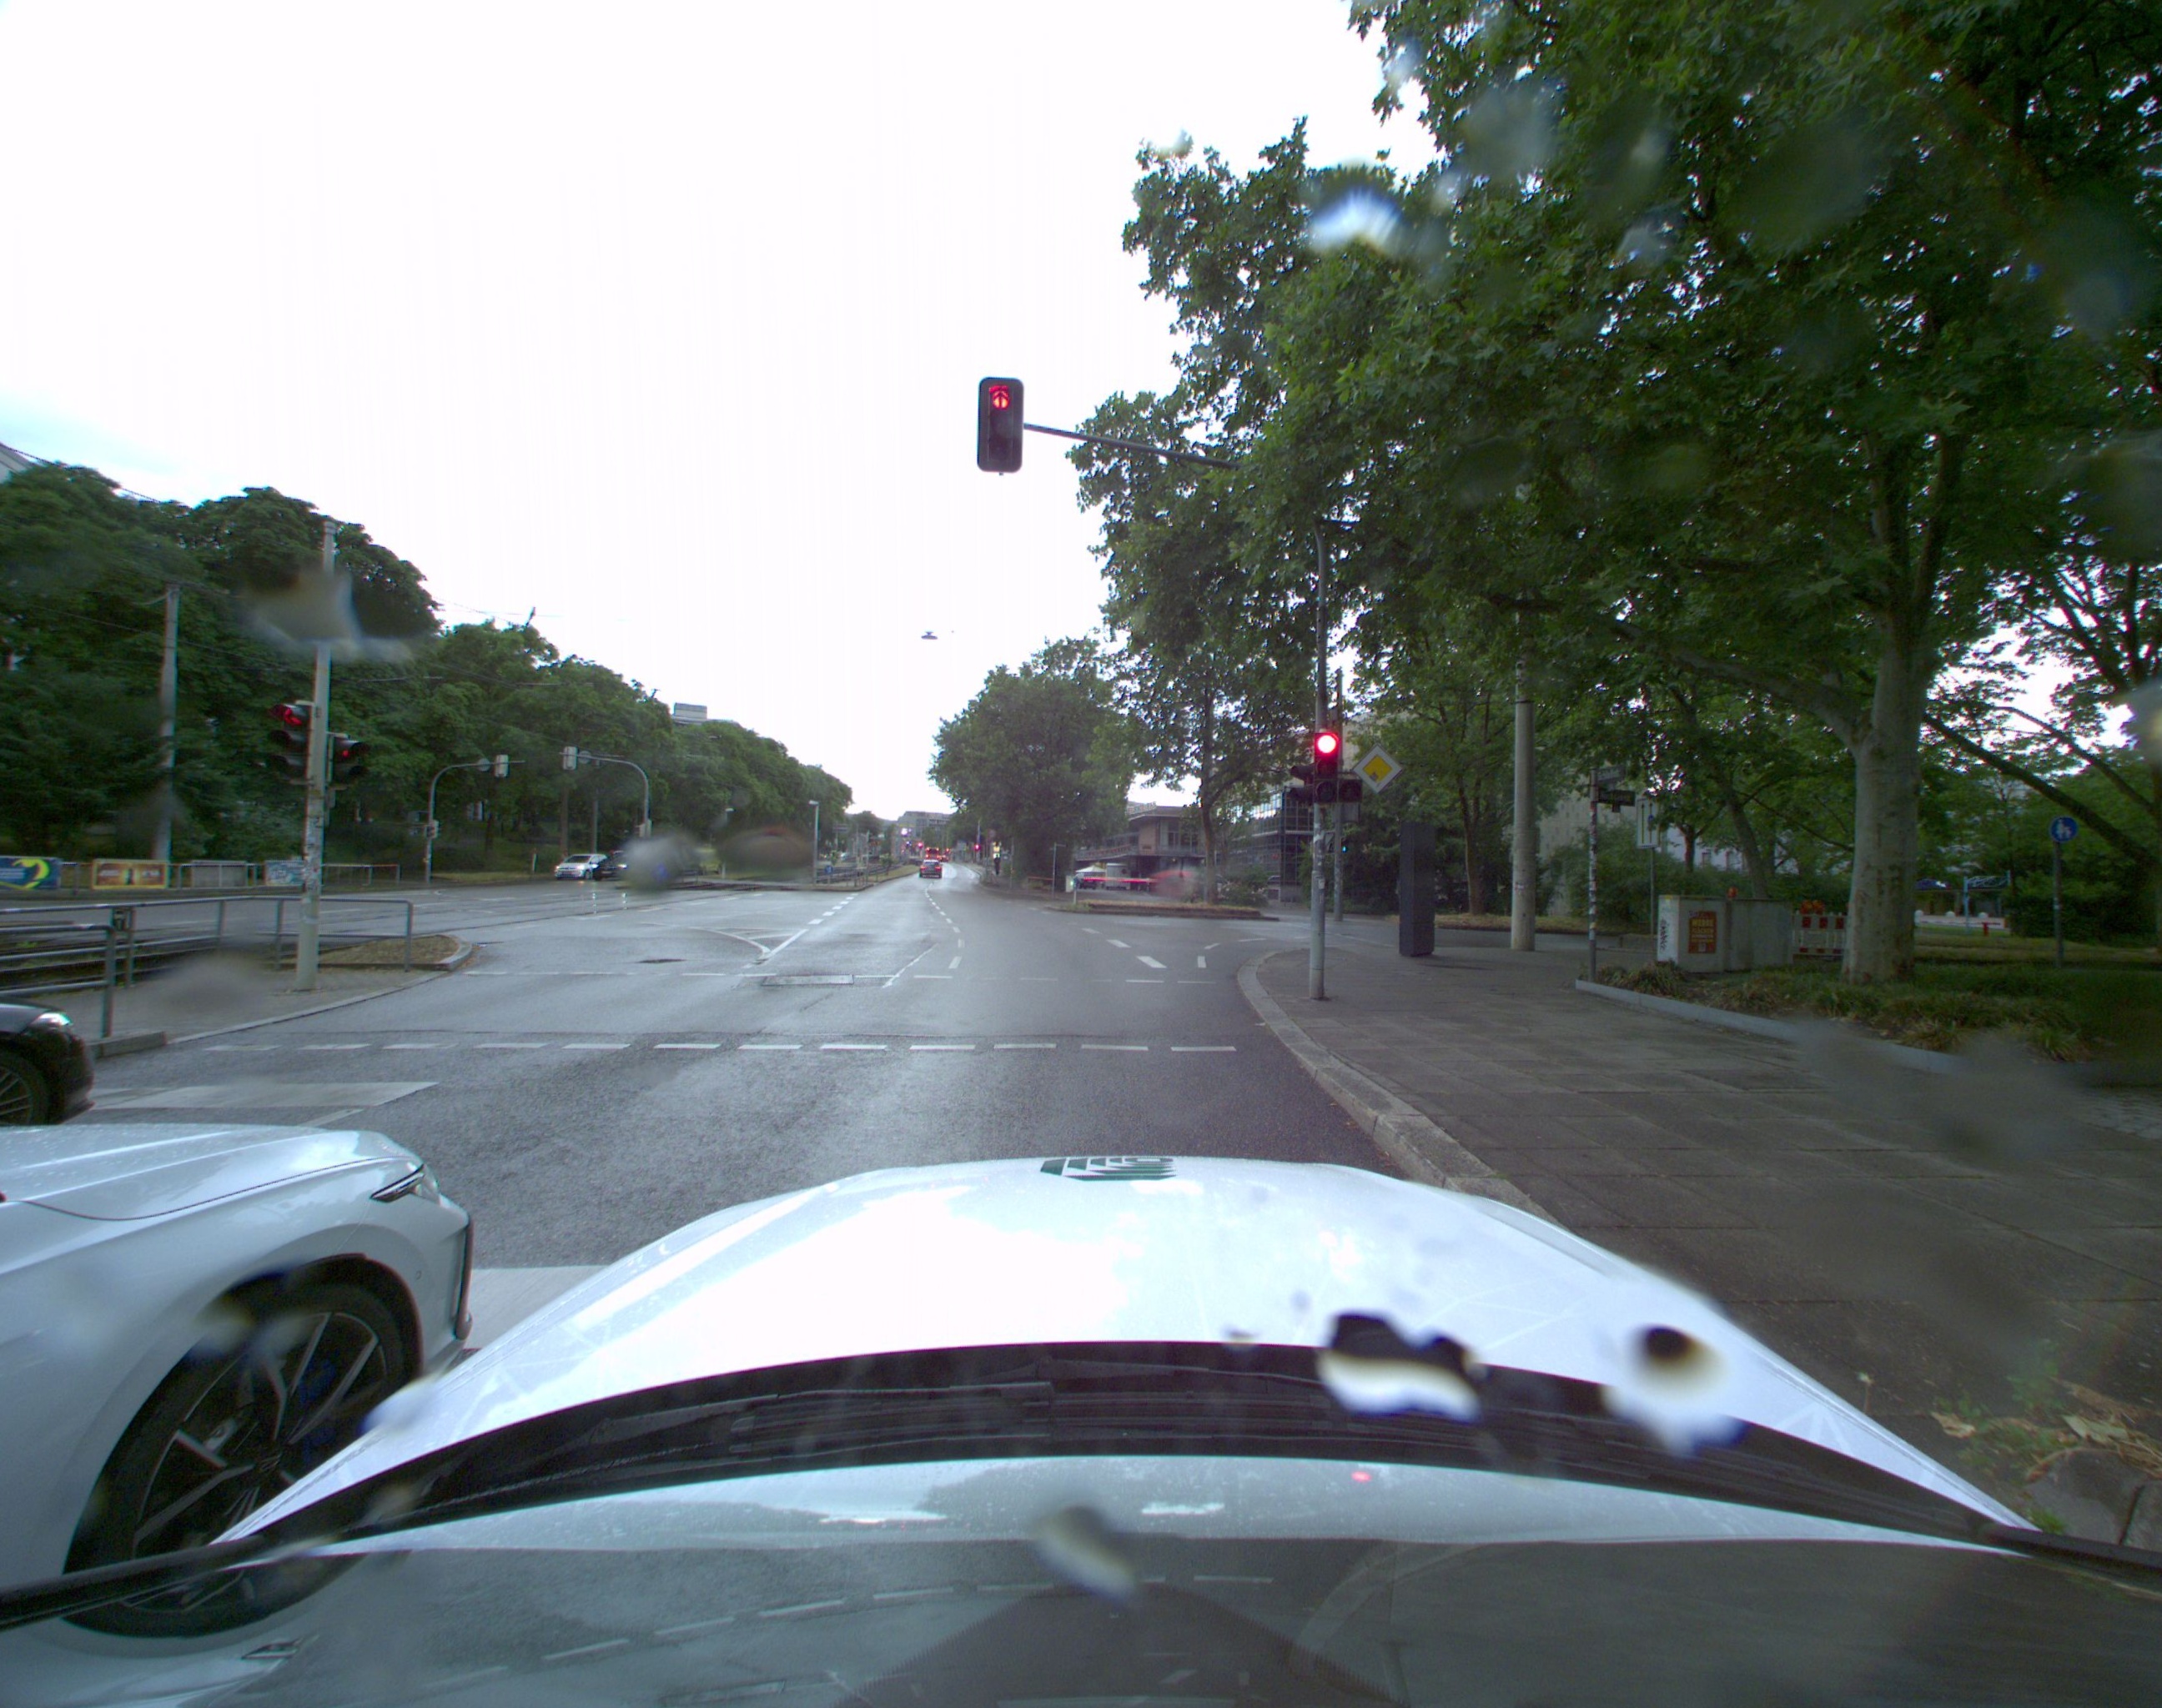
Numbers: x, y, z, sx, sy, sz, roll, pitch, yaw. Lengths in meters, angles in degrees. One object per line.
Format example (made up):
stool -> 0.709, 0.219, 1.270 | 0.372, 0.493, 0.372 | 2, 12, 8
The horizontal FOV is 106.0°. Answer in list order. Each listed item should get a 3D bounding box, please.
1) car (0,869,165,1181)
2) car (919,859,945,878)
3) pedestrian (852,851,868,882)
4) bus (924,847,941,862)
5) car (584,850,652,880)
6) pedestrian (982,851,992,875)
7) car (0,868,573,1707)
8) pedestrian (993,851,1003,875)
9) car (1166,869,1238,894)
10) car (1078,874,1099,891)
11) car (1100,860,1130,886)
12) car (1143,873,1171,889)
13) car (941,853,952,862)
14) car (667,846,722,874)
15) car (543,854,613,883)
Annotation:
car -> -5.968, 0.793, 2.216 | 1.789, 1.442, 4.477 | 0, 0, 2
car -> -12.209, 1.193, 66.831 | 1.993, 1.519, 4.336 | 0, -1, -9
pedestrian -> -13.205, 0.725, 48.682 | 0.870, 1.802, 0.864 | 2, -1, -14
bus -> -32.445, 0.106, 177.472 | 3.591, 3.171, 10.381 | 0, -1, -11
car -> -25.779, 0.619, 45.488 | 1.917, 1.546, 3.674 | 1, -1, -5
pedestrian -> -7.945, 0.773, 68.617 | 0.813, 2.014, 1.075 | 0, -1, -6
car -> -2.519, 0.752, 0.262 | 1.789, 1.442, 4.477 | 0, 0, 2
pedestrian -> -7.012, 0.769, 68.965 | 0.873, 2.014, 1.075 | 0, -1, -6
car -> 9.272, 2.118, 62.114 | 5.221, 1.731, 1.860 | 2, -1, -23
car -> 0.854, 3.062, 88.064 | 2.010, 1.551, 4.355 | 2, 0, 4
car -> 3.788, 2.091, 91.465 | 2.725, 2.695, 6.916 | 2, 0, -2
car -> 8.283, 2.905, 89.149 | 2.020, 1.551, 4.334 | 2, 0, -10
car -> -30.129, 0.806, 182.387 | 2.364, 1.817, 5.164 | 0, -1, -11
car -> -26.798, 0.435, 56.599 | 1.917, 1.851, 4.558 | 1, -1, -5
car -> -29.005, 0.829, 47.087 | 1.917, 1.546, 3.674 | 1, -1, -5
